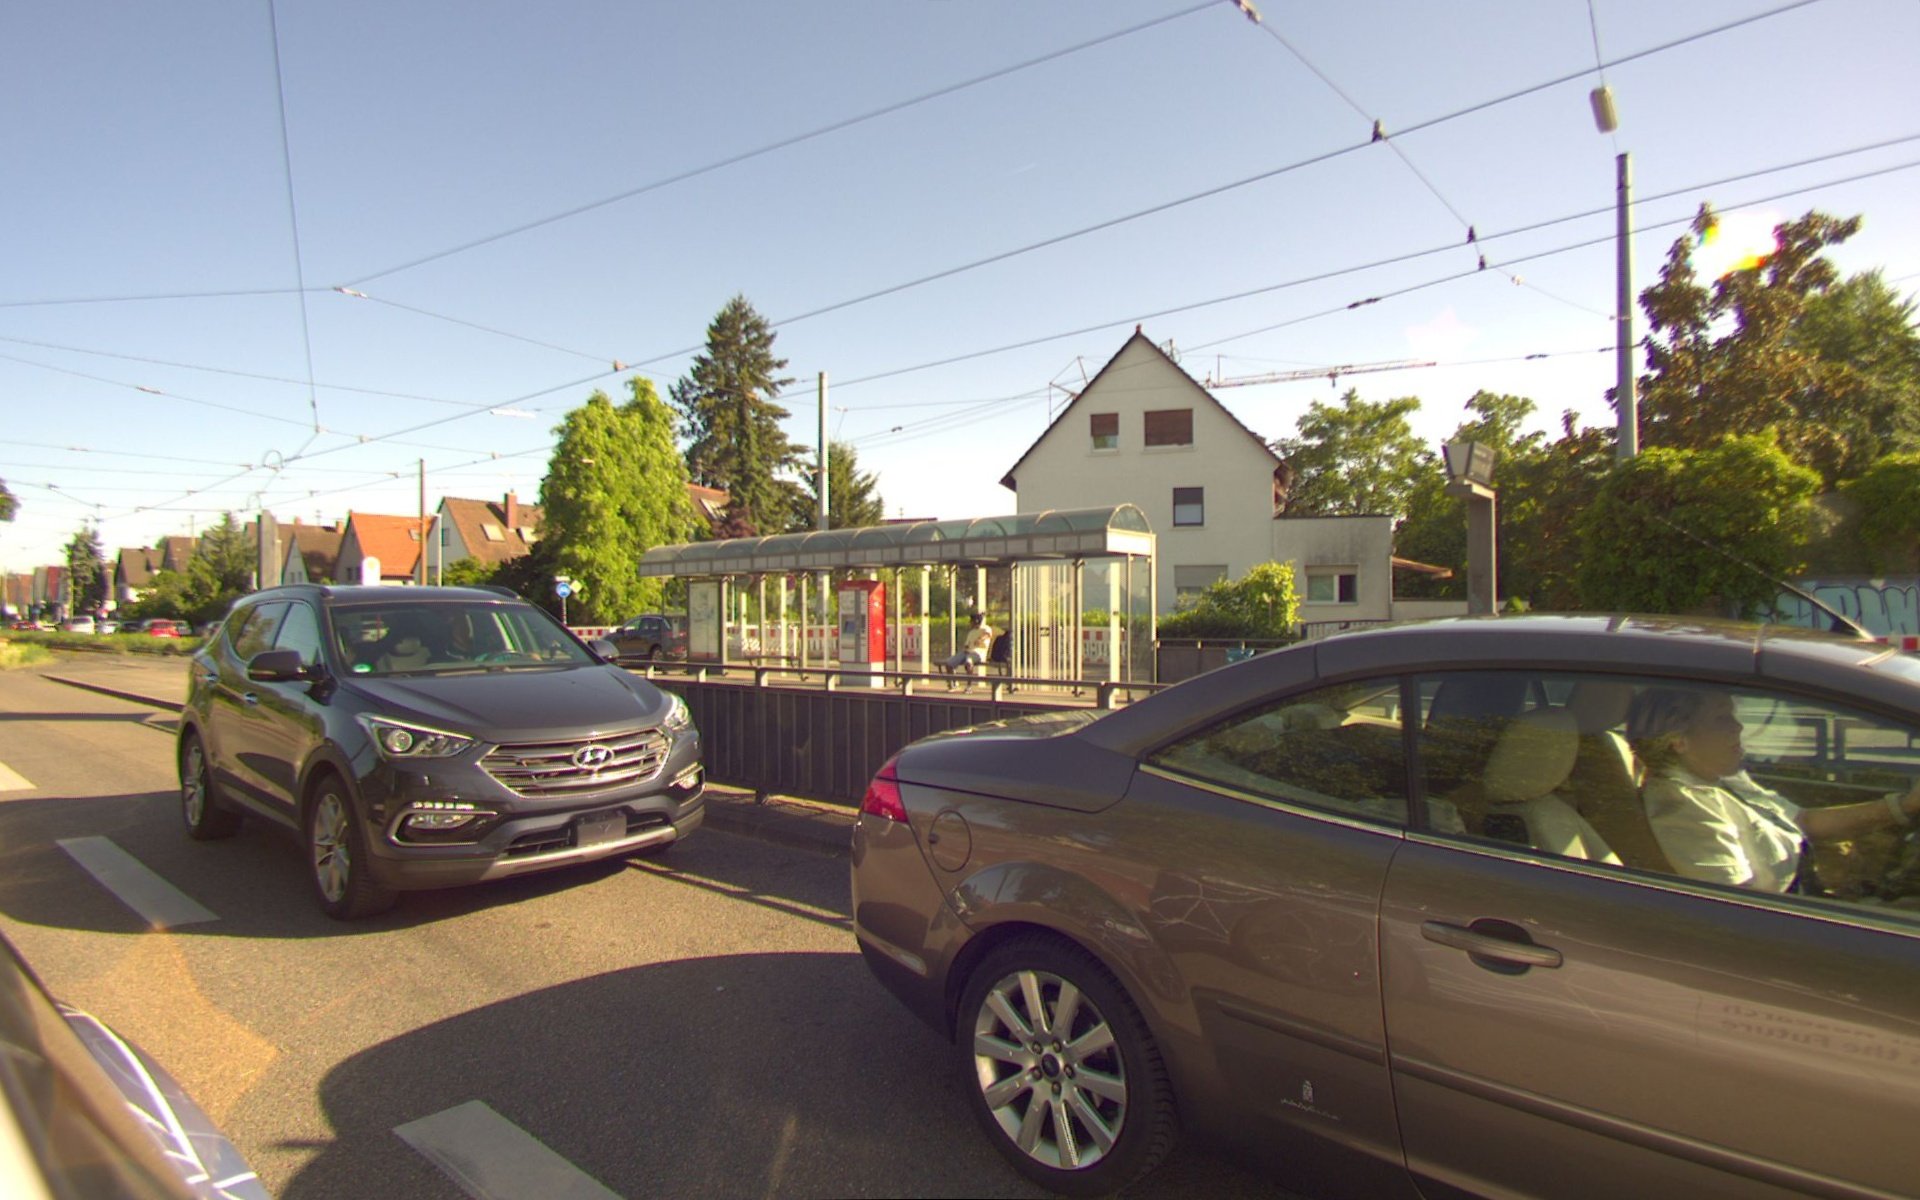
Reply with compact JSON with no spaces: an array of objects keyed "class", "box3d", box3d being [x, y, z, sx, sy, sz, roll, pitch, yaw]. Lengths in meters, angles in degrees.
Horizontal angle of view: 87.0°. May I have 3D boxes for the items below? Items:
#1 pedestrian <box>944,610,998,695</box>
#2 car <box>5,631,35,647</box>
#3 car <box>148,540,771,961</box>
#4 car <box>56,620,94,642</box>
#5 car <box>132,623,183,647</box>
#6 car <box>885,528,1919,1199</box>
[{"class":"pedestrian","box3d":[0.193,0.898,17.458,0.710,1.425,0.616,-2,-2,39]},{"class":"car","box3d":[-100.002,4.131,107.655,3.998,1.674,1.973,-2,-2,41]},{"class":"car","box3d":[-3.279,0.671,6.235,4.296,1.709,1.862,-2,-2,40]},{"class":"car","box3d":[-76.041,2.670,86.949,3.999,1.785,1.972,-2,-2,42]},{"class":"car","box3d":[-53.220,2.311,67.094,3.999,1.475,1.972,-2,-2,42]},{"class":"car","box3d":[1.975,0.681,2.067,4.189,1.546,1.733,-2,-2,38]}]
